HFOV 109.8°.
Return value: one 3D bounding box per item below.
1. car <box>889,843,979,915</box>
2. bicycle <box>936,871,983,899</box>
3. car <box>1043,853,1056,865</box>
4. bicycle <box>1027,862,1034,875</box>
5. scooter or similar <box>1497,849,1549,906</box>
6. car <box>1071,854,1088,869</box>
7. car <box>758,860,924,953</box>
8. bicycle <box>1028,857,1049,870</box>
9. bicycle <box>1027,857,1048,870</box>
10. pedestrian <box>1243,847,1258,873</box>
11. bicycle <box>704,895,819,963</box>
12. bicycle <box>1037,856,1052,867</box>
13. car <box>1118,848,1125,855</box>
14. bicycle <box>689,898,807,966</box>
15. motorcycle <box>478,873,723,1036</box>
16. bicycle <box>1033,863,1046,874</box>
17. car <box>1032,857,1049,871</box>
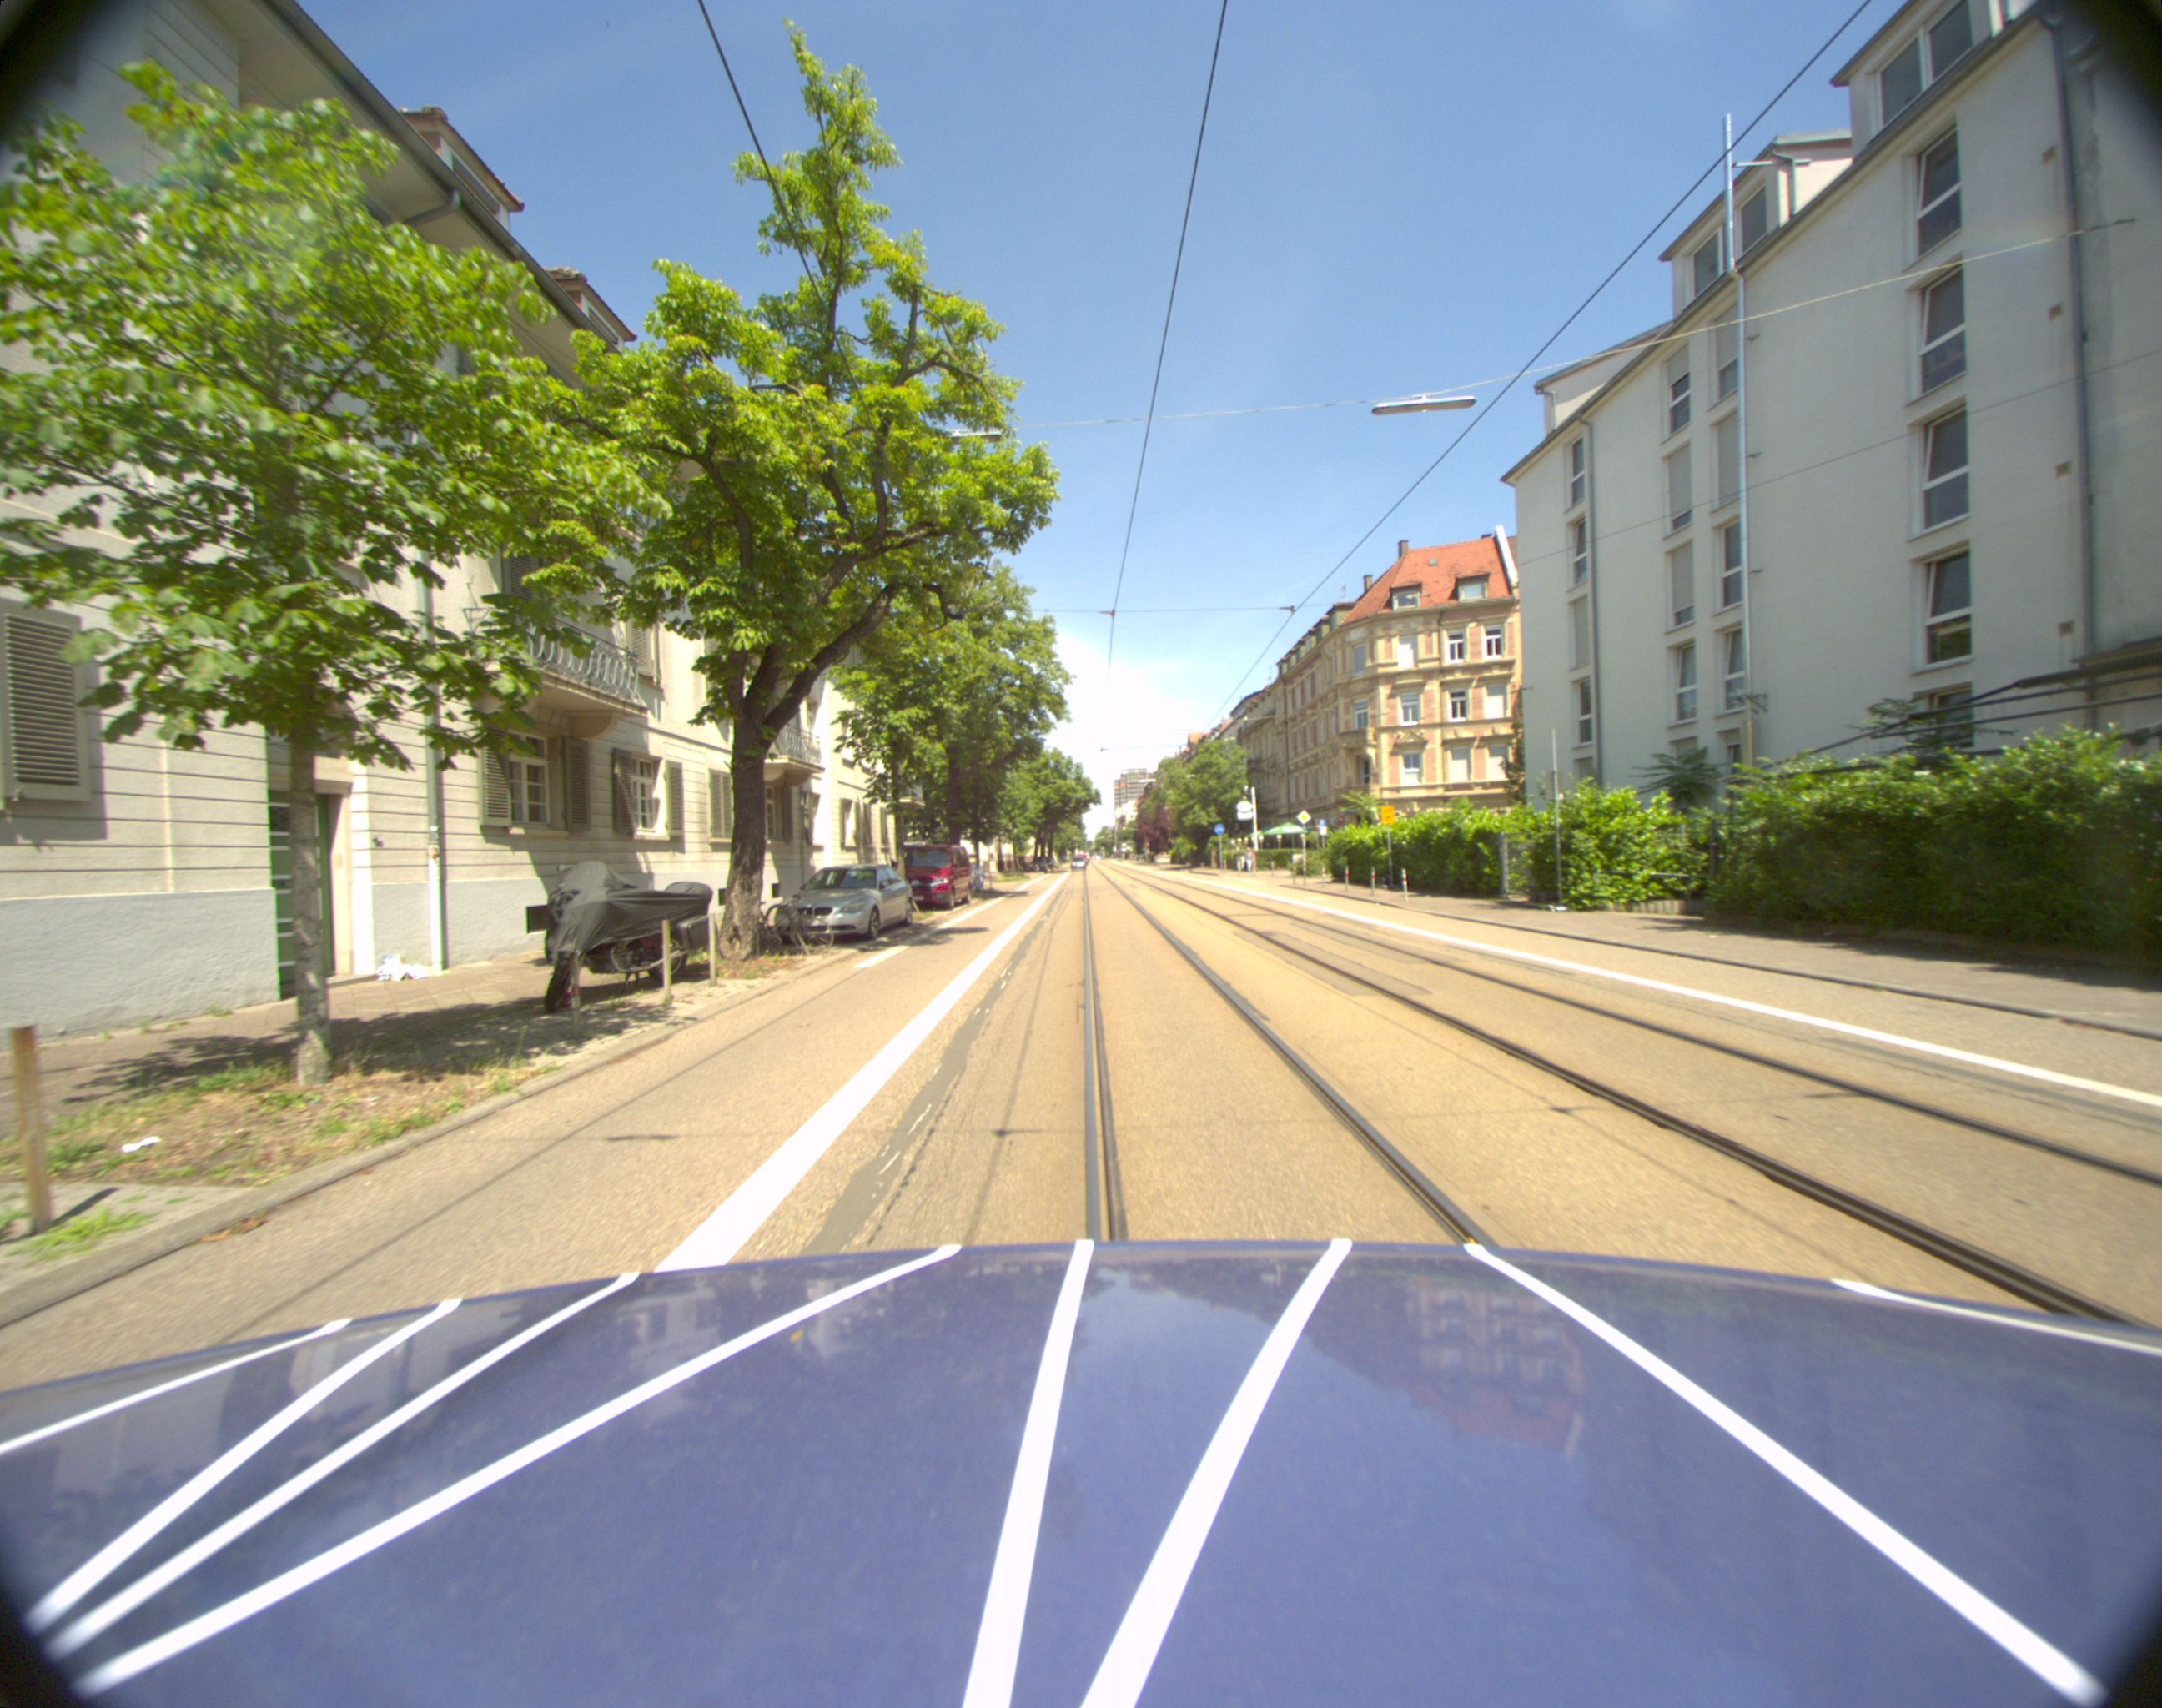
[{"bbox_3d":[-4.546,0.724,24.302,1.864,2.002,4.975,-2,0,0],"label":"car"},{"bbox_3d":[-4.526,1.155,28.401,1.701,1.016,0.364,-1,1,-6],"label":"bicycle"},{"bbox_3d":[-4.217,0.669,101.569,1.539,1.535,4.000,-2,0,0],"label":"car"},{"bbox_3d":[-4.897,1.366,73.752,0.284,1.193,1.625,-2,1,-19],"label":"bicycle"},{"bbox_3d":[11.685,0.618,20.116,1.011,1.442,0.597,-2,1,0],"label":"scooter or similar"},{"bbox_3d":[-0.164,0.789,86.063,1.893,1.561,4.036,-2,1,0],"label":"car"},{"bbox_3d":[-4.815,0.966,16.102,1.864,1.568,4.877,-2,0,1],"label":"car"},{"bbox_3d":[-4.393,0.983,78.766,2.037,1.193,0.445,-2,1,10],"label":"bicycle"},{"bbox_3d":[-4.446,0.985,78.259,2.037,1.193,0.445,-2,1,10],"label":"bicycle"},{"bbox_3d":[10.841,0.388,48.687,0.742,1.632,0.939,-1,1,3],"label":"pedestrian"},{"bbox_3d":[-5.144,1.205,12.261,1.662,1.010,0.371,-2,1,1],"label":"bicycle"},{"bbox_3d":[-4.223,0.903,87.730,1.623,1.193,0.305,-2,1,2],"label":"bicycle"},{"bbox_3d":[9.713,-0.600,182.271,1.493,1.372,3.630,-2,1,0],"label":"car"},{"bbox_3d":[-5.153,1.198,11.772,1.662,1.009,0.371,-1,-1,1],"label":"bicycle"},{"bbox_3d":[-5.263,1.007,8.621,0.746,1.497,2.561,-1,0,12],"label":"motorcycle"},{"bbox_3d":[-4.032,1.411,73.685,1.169,1.057,0.280,-2,1,3],"label":"bicycle"},{"bbox_3d":[-4.396,1.071,83.242,1.596,1.444,3.632,0,0,1],"label":"car"}]
